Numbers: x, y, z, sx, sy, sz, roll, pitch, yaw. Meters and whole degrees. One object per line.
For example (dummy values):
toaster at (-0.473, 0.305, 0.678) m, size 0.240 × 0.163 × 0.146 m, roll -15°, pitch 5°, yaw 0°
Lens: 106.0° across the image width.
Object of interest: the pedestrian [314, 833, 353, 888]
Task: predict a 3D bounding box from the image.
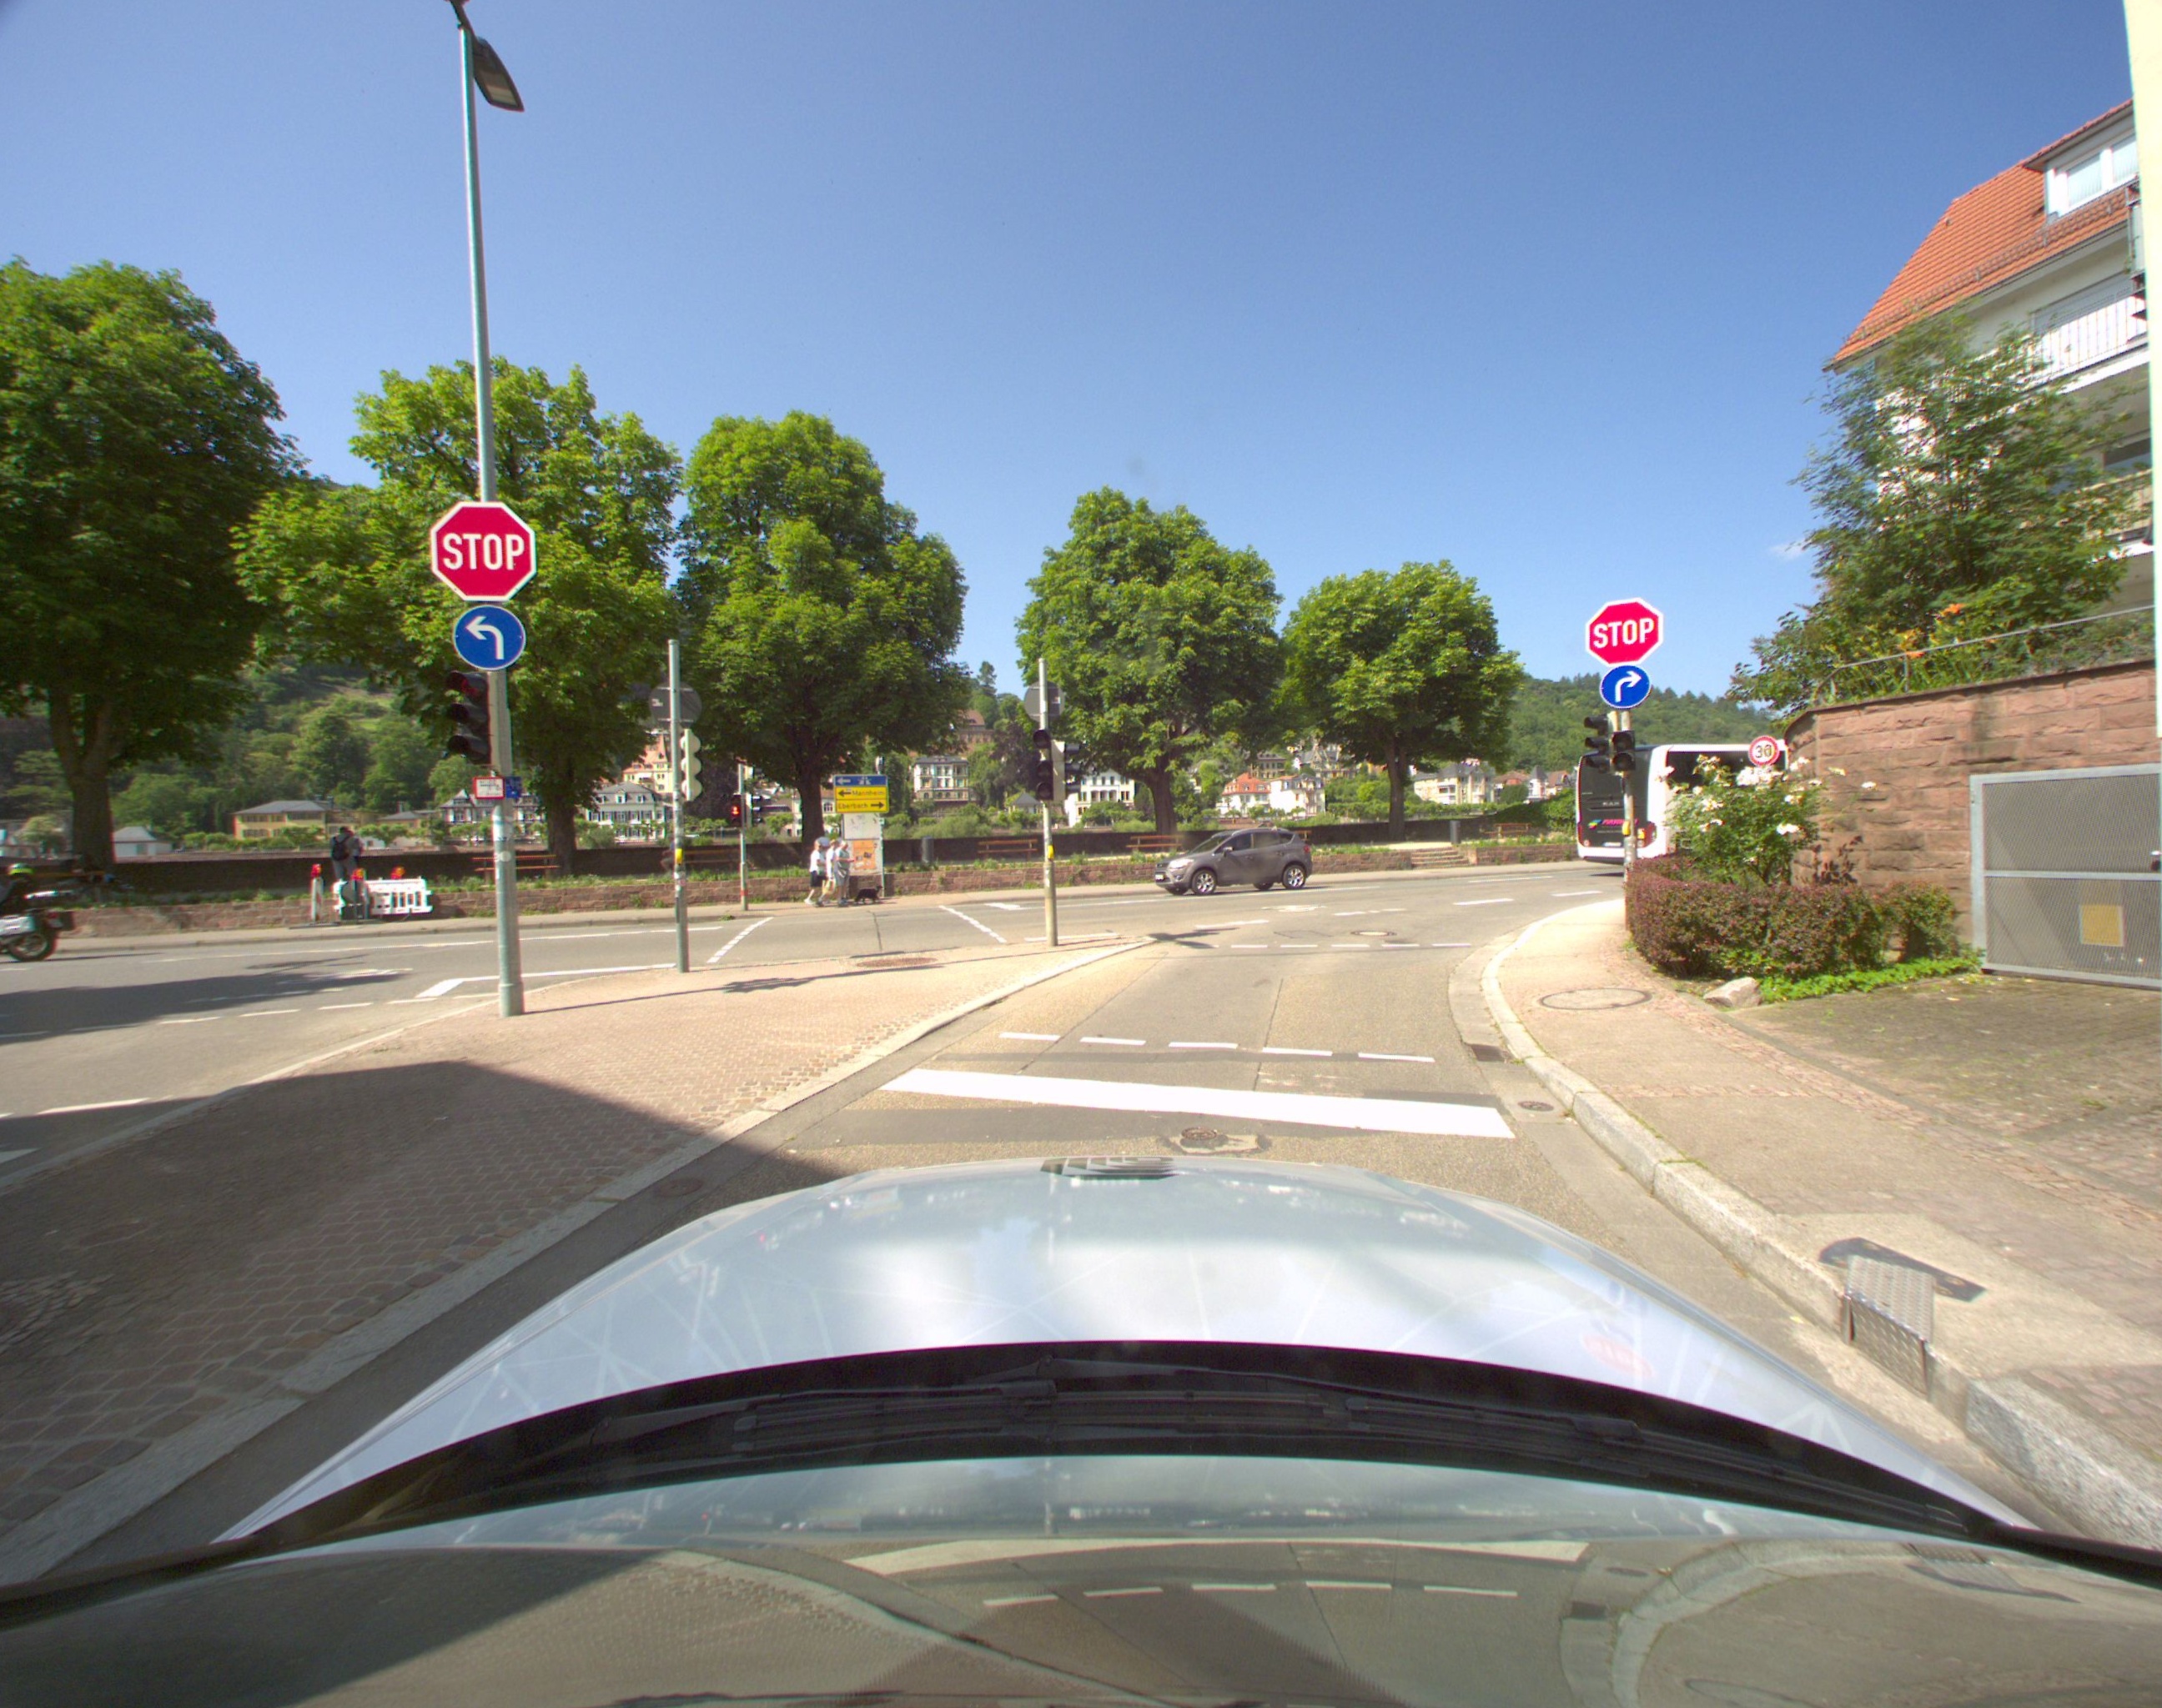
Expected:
pedestrian at (-23.742, 0.209, 25.891) m, size 0.712 × 1.732 × 0.750 m, roll -1°, pitch -1°, yaw -27°

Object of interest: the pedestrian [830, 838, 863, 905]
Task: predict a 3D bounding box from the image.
pedestrian at (-6.496, 0.479, 22.545) m, size 0.691 × 1.769 × 0.712 m, roll -3°, pitch -1°, yaw -23°

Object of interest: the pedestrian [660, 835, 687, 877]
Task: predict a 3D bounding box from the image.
pedestrian at (-12.061, 0.057, 24.109) m, size 0.645 × 1.228 × 0.410 m, roll -2°, pitch 0°, yaw -30°

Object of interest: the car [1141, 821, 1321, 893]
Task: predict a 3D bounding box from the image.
car at (4.027, 0.081, 21.994) m, size 4.409 × 1.754 × 1.832 m, roll -1°, pitch -3°, yaw -20°

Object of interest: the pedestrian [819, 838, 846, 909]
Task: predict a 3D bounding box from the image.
pedestrian at (-6.529, 0.500, 21.450) m, size 0.579 × 1.801 × 0.702 m, roll -2°, pitch 0°, yaw -14°

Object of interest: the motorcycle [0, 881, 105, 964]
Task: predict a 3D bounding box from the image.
motorcycle at (-19.046, 1.224, 14.219) m, size 2.471 × 1.376 × 0.758 m, roll -2°, pitch 0°, yaw -20°

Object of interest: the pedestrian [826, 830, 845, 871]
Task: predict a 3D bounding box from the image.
pedestrian at (-7.788, -0.099, 25.815) m, size 0.554 × 1.228 × 0.980 m, roll 0°, pitch -3°, yaw -16°

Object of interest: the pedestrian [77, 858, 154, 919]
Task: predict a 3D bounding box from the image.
pedestrian at (-24.270, 0.838, 20.496) m, size 0.467 × 1.479 × 1.379 m, roll -2°, pitch 0°, yaw -13°

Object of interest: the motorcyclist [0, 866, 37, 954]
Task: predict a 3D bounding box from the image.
motorcyclist at (-19.122, 0.984, 14.152) m, size 0.874 × 1.494 × 0.813 m, roll -2°, pitch 0°, yaw -20°

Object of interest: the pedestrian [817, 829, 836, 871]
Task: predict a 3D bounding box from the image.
pedestrian at (-7.976, -0.120, 25.572) m, size 0.554 × 1.279 × 0.700 m, roll 0°, pitch -3°, yaw -16°

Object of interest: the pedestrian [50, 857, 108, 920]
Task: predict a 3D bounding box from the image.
pedestrian at (-24.742, 0.836, 20.114) m, size 0.467 × 1.493 × 0.801 m, roll -2°, pitch 0°, yaw -13°

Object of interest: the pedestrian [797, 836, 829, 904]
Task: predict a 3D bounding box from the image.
pedestrian at (-7.314, 0.437, 22.205) m, size 0.724 × 1.802 × 0.629 m, roll -3°, pitch -1°, yaw -20°

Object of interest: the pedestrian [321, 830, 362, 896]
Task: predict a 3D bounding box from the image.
pedestrian at (-21.313, 0.264, 23.487) m, size 0.768 × 1.858 × 0.748 m, roll -1°, pitch -1°, yaw -35°

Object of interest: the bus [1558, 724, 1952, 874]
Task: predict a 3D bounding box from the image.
bus at (19.866, -1.582, 23.829) m, size 12.177 × 3.788 × 2.888 m, roll -2°, pitch 0°, yaw -19°

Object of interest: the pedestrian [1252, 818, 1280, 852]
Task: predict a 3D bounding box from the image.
pedestrian at (6.936, -0.709, 30.557) m, size 0.799 × 1.211 × 0.712 m, roll 0°, pitch -3°, yaw -14°

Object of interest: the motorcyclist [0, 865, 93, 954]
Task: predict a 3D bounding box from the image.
motorcyclist at (-18.443, 0.957, 14.462) m, size 0.773 × 1.493 × 0.813 m, roll -2°, pitch 0°, yaw -20°
